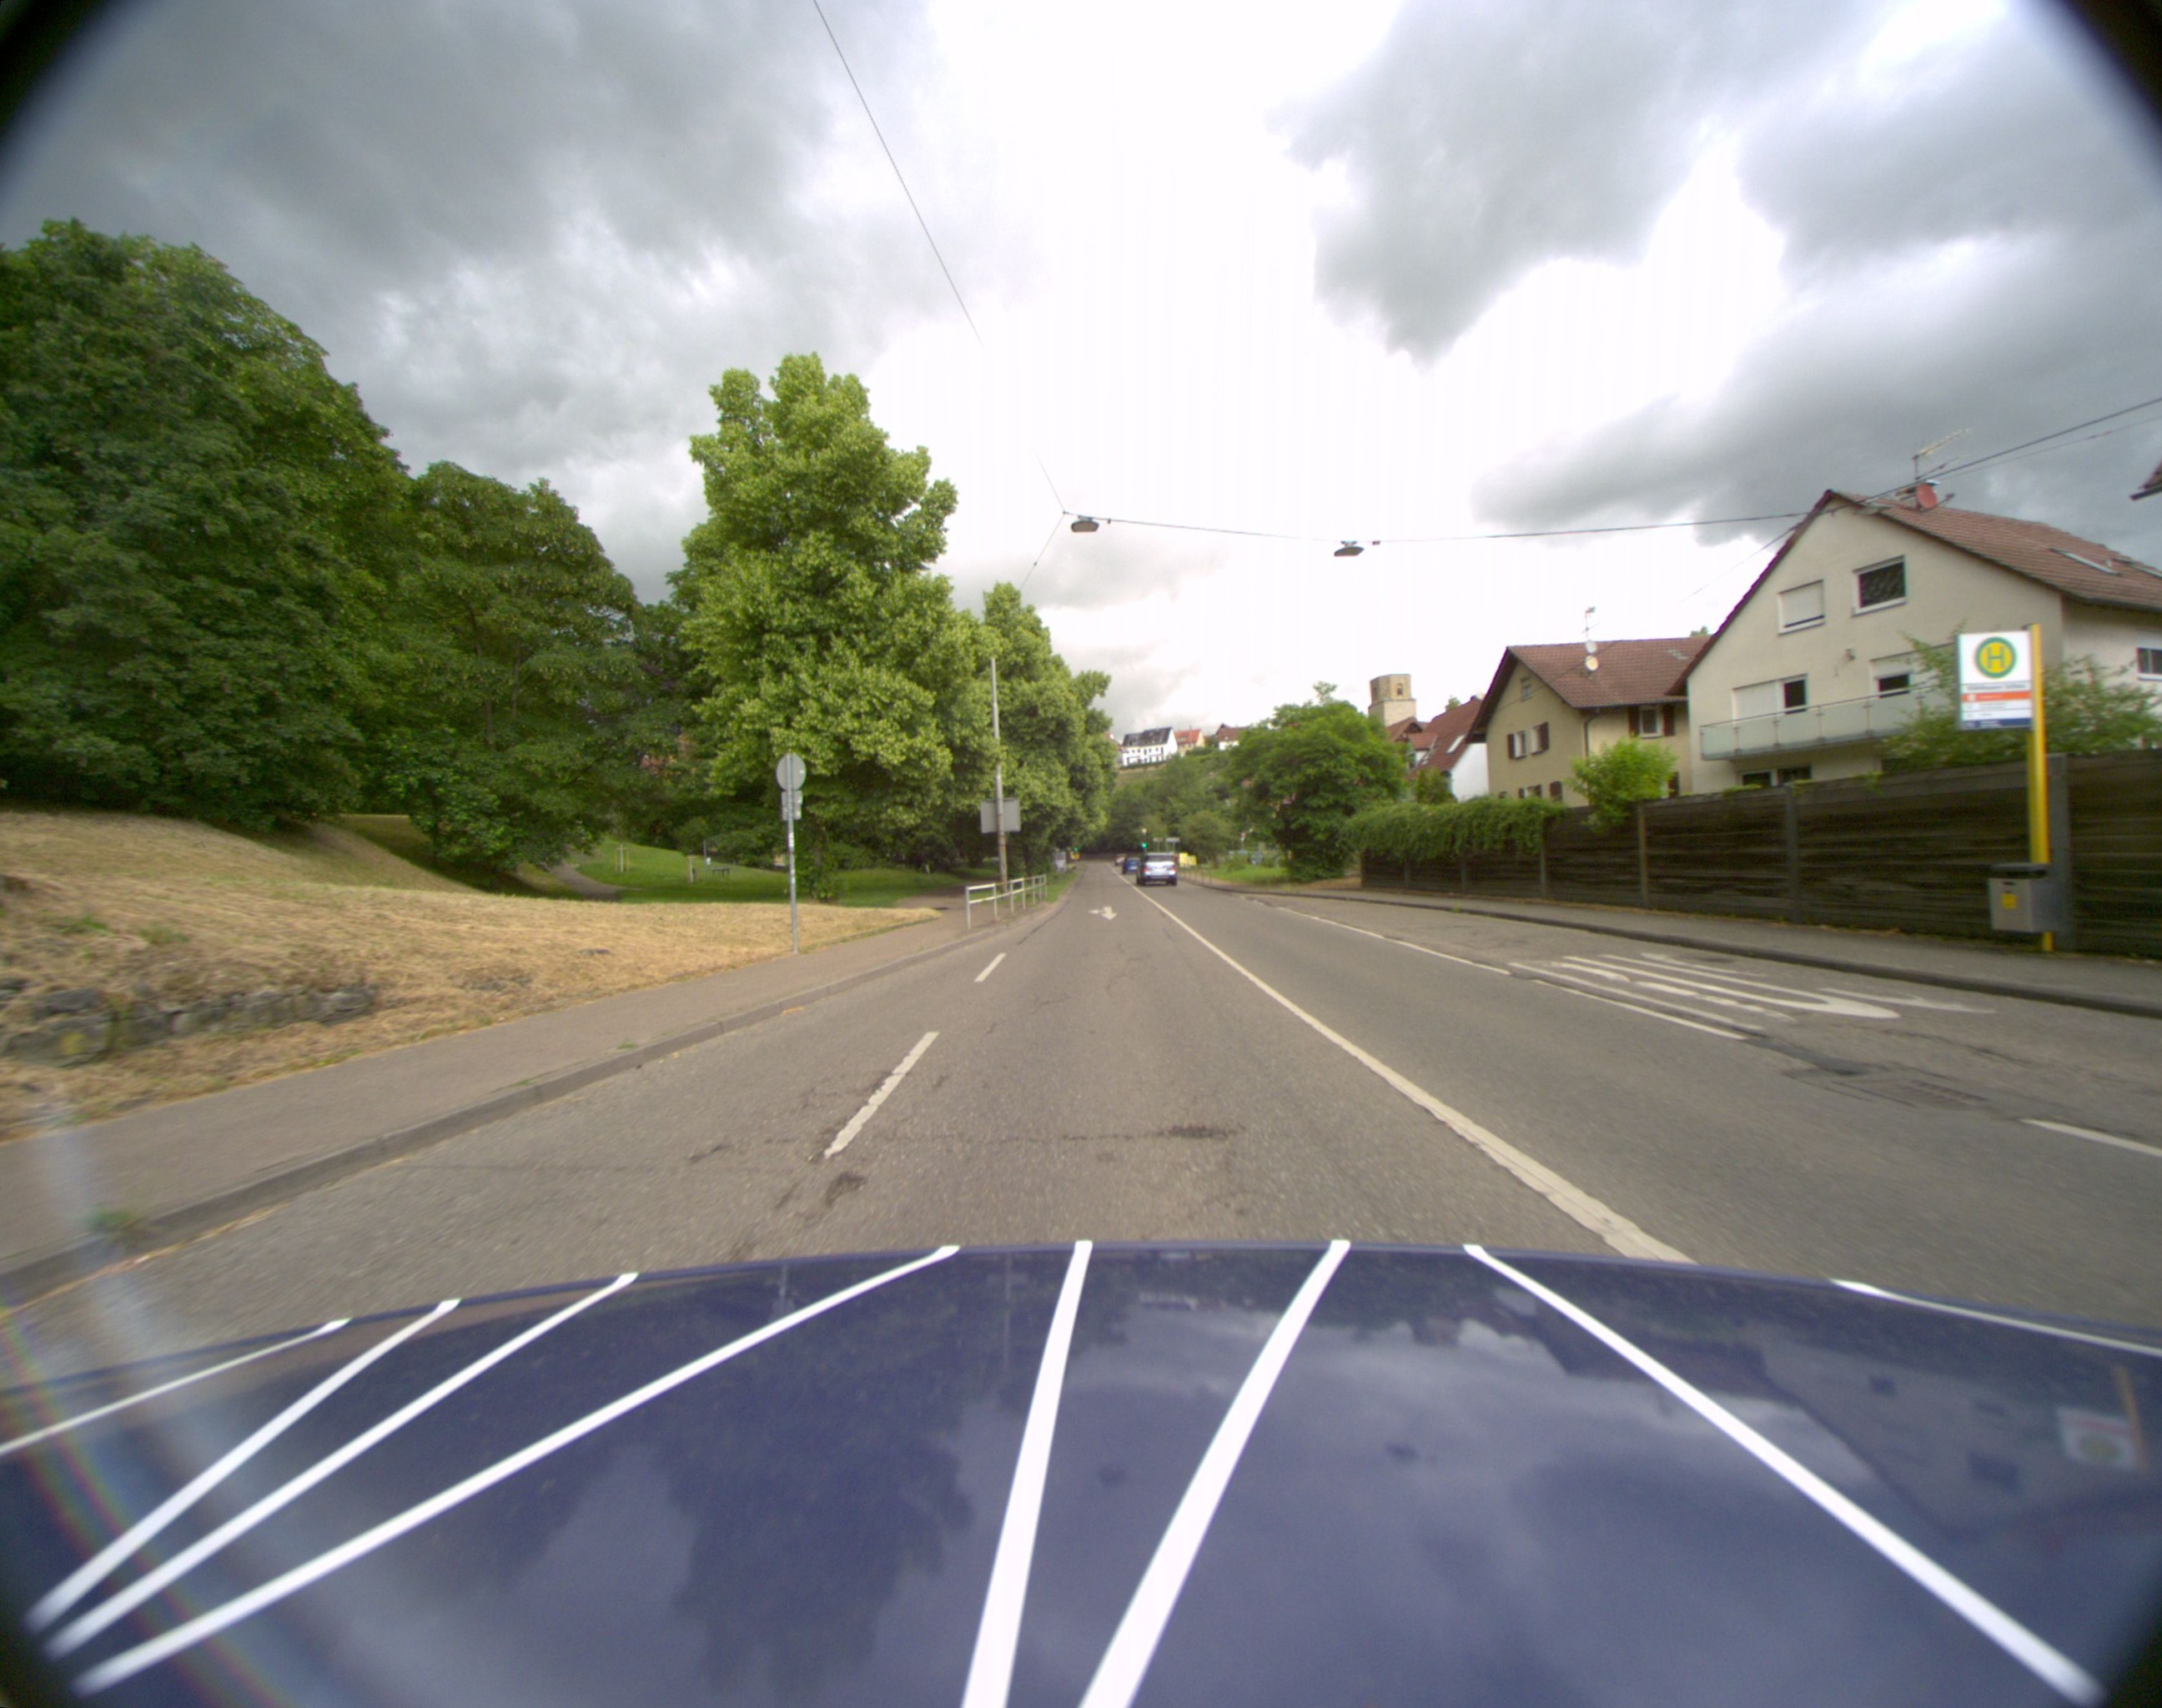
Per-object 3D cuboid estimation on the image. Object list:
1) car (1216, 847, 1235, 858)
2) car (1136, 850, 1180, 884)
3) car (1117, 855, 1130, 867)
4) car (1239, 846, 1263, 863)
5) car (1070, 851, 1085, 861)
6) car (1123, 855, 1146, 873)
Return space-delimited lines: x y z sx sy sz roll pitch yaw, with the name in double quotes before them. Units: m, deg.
"car" 17.809 -0.182 93.966 1.649 1.337 4.152 -1 0 1
"car" 4.091 0.668 41.036 1.940 1.714 4.692 -1 0 0
"car" 5.770 0.927 103.451 1.708 1.503 4.000 -1 0 1
"car" 17.463 0.041 78.141 1.815 1.608 4.001 -1 0 4
"car" -0.726 0.486 153.380 1.853 1.919 4.762 -3 0 -17
"car" 4.571 0.834 65.309 1.720 1.460 4.099 -2 0 0
